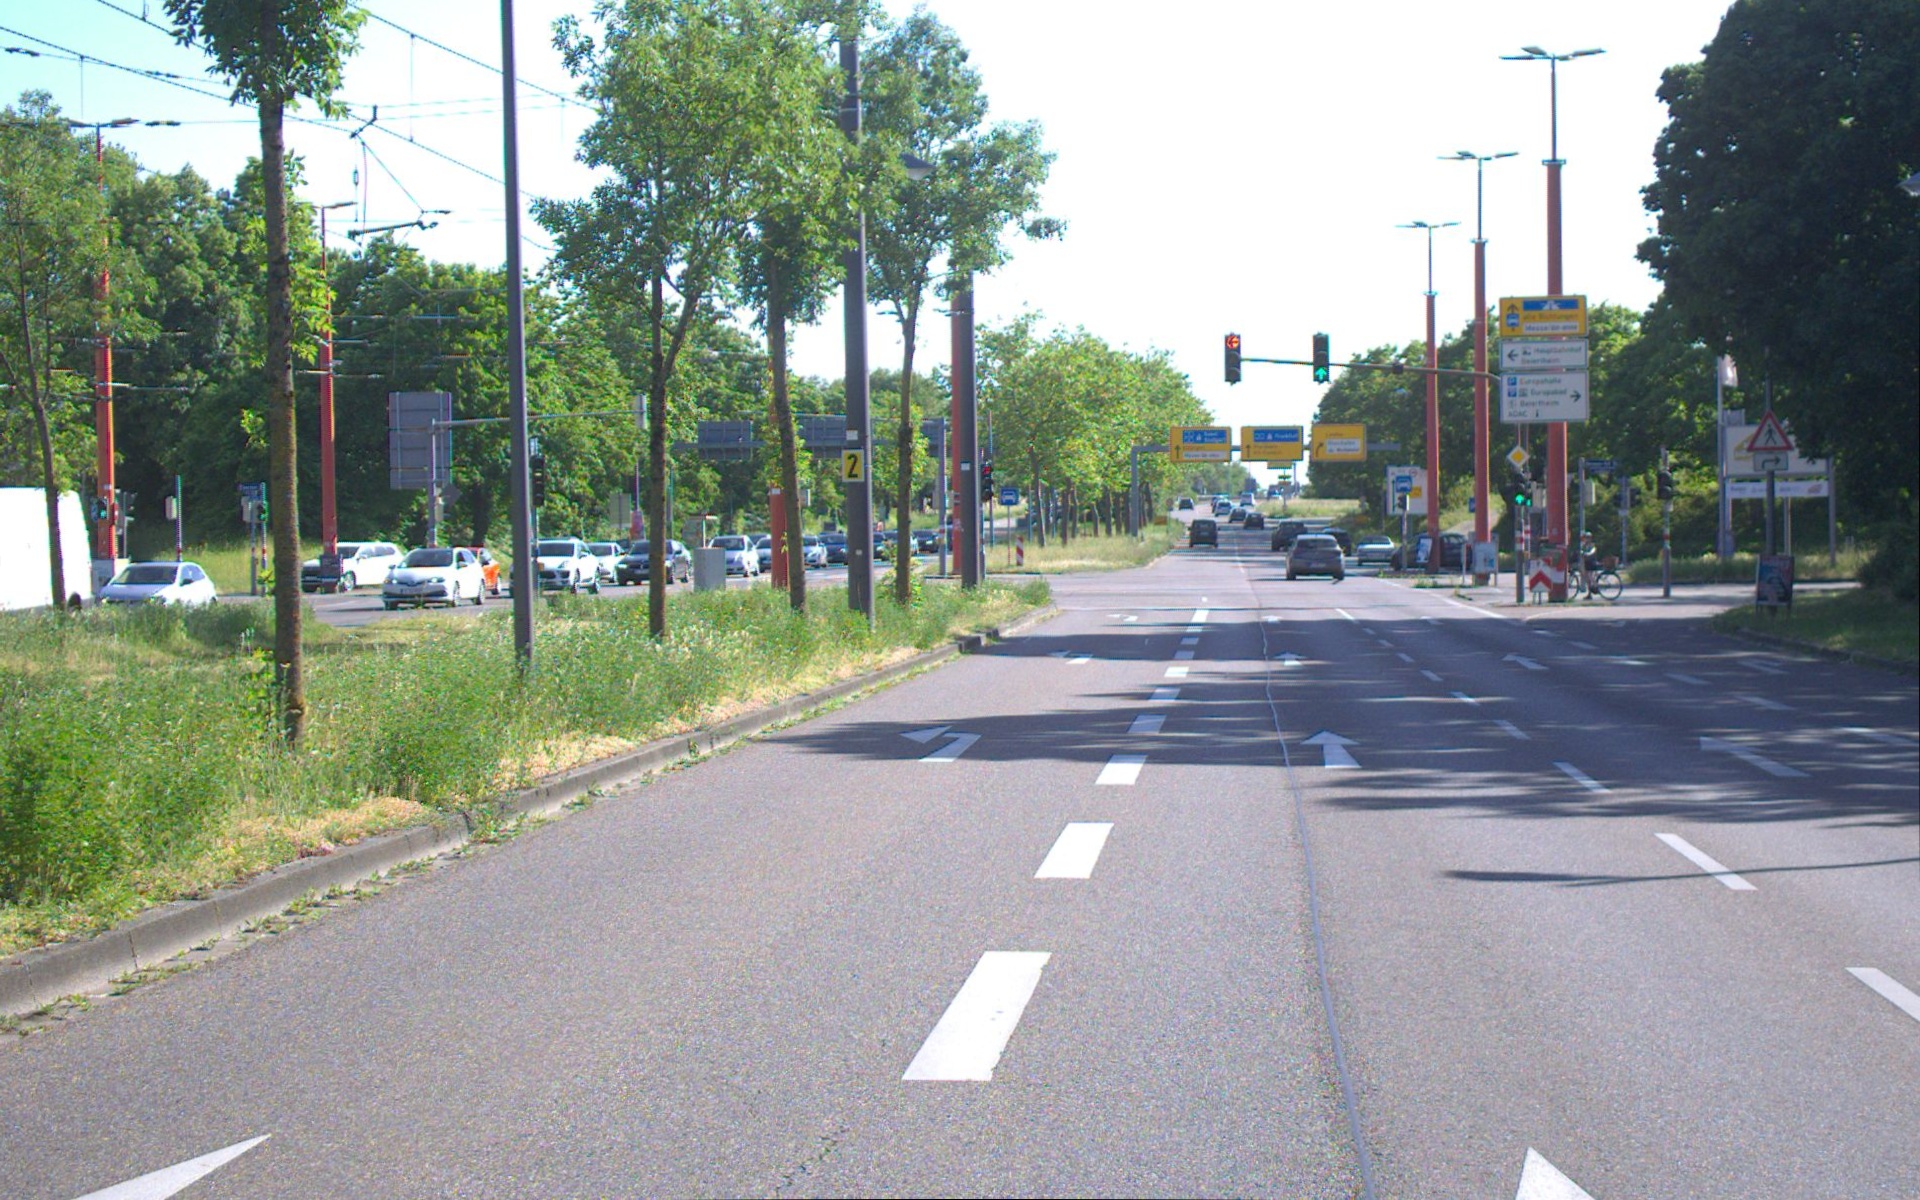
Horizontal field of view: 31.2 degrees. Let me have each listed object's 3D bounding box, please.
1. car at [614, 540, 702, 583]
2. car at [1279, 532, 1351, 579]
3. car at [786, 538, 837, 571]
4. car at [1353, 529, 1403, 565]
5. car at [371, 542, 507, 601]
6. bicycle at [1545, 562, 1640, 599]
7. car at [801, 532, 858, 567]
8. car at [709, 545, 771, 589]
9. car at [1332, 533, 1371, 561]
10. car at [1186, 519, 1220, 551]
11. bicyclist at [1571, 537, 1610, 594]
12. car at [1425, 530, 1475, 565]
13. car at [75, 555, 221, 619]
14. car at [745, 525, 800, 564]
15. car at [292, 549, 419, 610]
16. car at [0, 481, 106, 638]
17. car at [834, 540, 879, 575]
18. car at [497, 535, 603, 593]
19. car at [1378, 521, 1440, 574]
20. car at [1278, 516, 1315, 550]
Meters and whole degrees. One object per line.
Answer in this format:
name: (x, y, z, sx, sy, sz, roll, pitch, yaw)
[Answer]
car: (-10.038, -1.289, 114.540, 1.994, 1.404, 4.989, 1, 1, 6)
car: (11.563, -1.468, 112.204, 1.993, 1.491, 4.000, 0, 1, 1)
car: (-6.542, -2.002, 151.694, 1.704, 1.418, 4.642, -1, 1, 4)
car: (18.262, -2.312, 150.392, 1.994, 1.535, 3.999, 1, 1, 5)
car: (-12.809, -0.724, 84.728, 1.900, 1.393, 4.541, 1, 1, 11)
bicycle: (15.191, -0.468, 82.566, 2.161, 0.875, 0.560, 0, 1, -6)
car: (-6.088, -2.362, 160.689, 1.994, 1.589, 4.463, -1, 1, 6)
car: (-8.309, -1.251, 130.303, 1.763, 1.603, 3.757, -1, 1, 5)
car: (21.686, -2.938, 190.496, 1.994, 1.535, 3.999, 0, 1, 5)
car: (15.435, -4.113, 218.235, 1.994, 2.007, 3.999, 1, 1, 5)
bicyclist: (15.130, -0.829, 82.555, 0.739, 1.337, 0.708, 0, 1, -5)
car: (19.094, -2.053, 134.105, 1.738, 1.337, 3.081, 0, 1, 5)
car: (-17.118, -0.289, 72.653, 1.798, 1.288, 3.999, 1, 1, 5)
car: (-7.717, -2.305, 141.955, 1.589, 1.467, 4.182, -2, 2, 6)
car: (-20.842, -0.718, 118.651, 1.997, 2.007, 4.401, 0, 1, 28)
car: (-15.339, -0.648, 53.222, 2.040, 2.361, 6.879, 1, 1, 4)
car: (-5.240, -2.160, 174.197, 1.801, 1.702, 4.059, -1, 1, 5)
car: (-11.633, -1.037, 97.909, 1.895, 1.616, 4.655, 1, 1, 7)
car: (16.098, -1.885, 123.354, 1.994, 1.881, 3.999, 0, 1, 5)
car: (20.253, -4.028, 207.076, 2.155, 2.007, 4.000, 0, 1, 5)
